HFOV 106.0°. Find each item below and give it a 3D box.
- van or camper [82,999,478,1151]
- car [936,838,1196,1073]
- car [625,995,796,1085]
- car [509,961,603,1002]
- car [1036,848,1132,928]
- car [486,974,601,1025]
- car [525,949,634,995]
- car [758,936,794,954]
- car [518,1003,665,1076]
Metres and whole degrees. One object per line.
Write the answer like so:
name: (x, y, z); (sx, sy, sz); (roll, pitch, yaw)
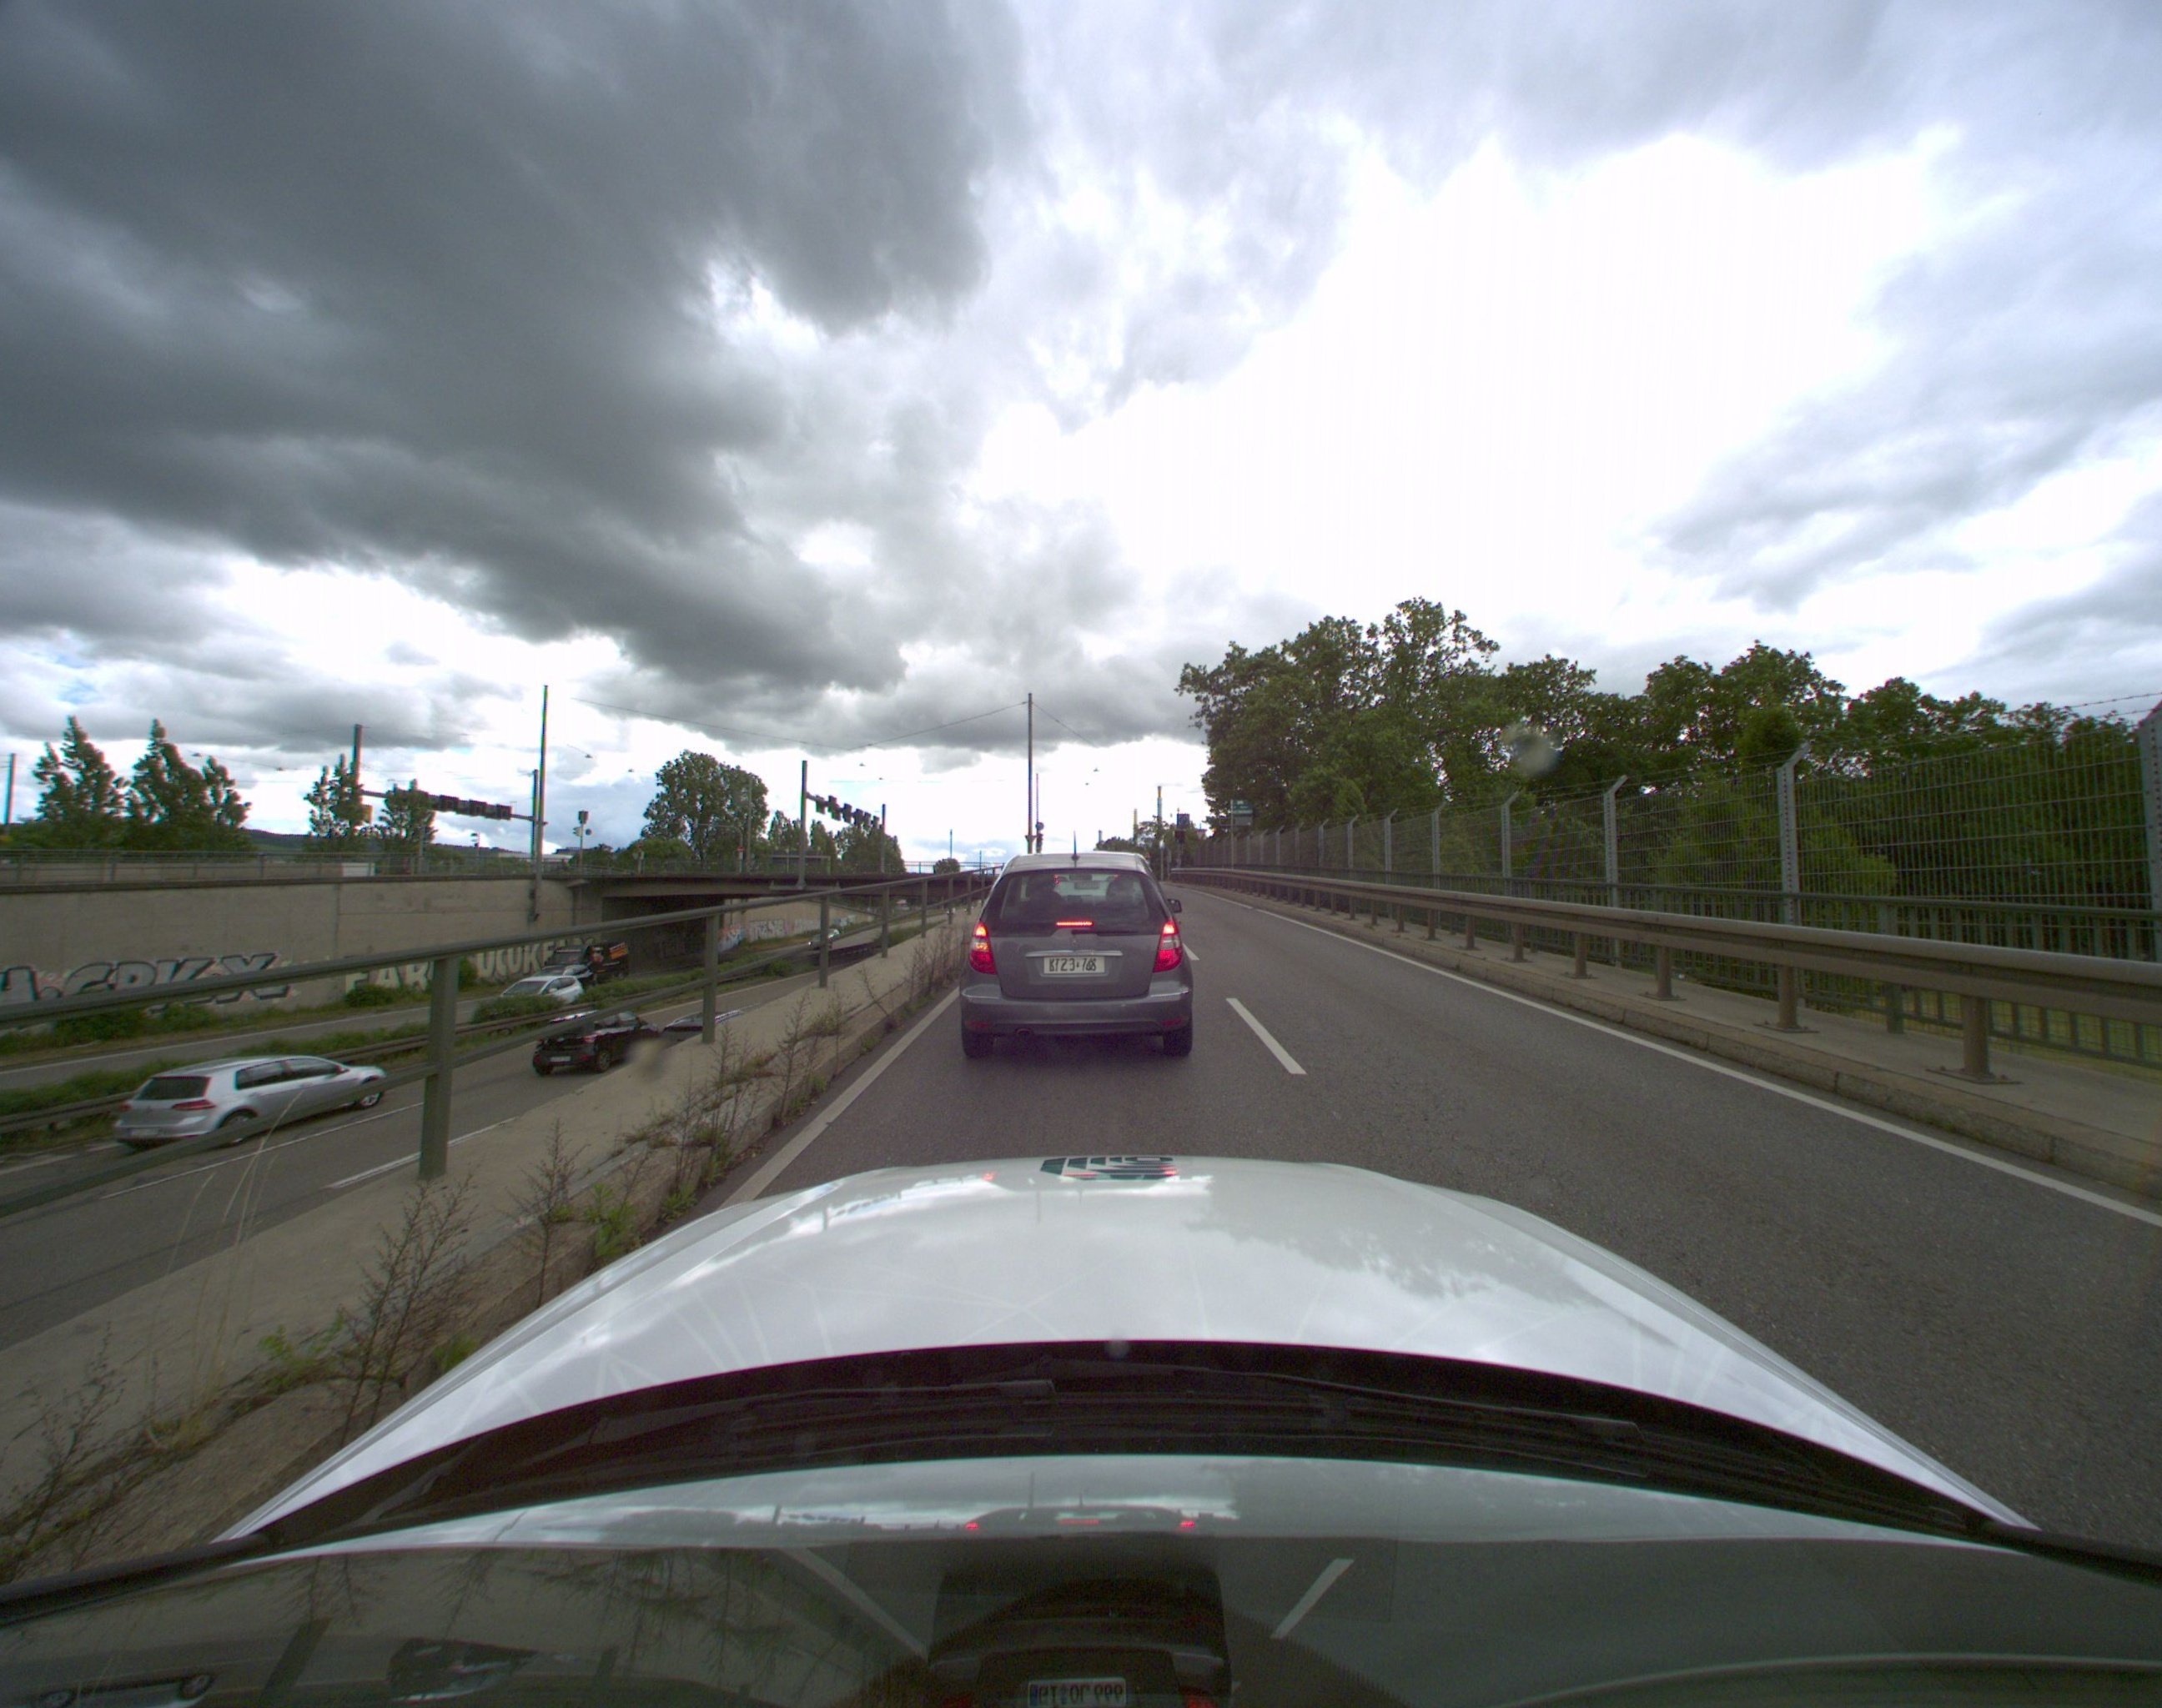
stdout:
van or camper: (-16.203, 4.387, 17.268); (1.875, 1.869, 6.348); (0, -4, 2)
car: (0.163, 0.682, 7.611); (1.740, 1.580, 4.094); (-1, 0, 8)
car: (-9.468, 4.735, 21.242); (1.923, 1.501, 4.315); (-2, -3, 10)
car: (-26.184, 6.348, 40.776); (1.987, 1.662, 3.999); (0, -4, 1)
car: (0.116, 0.701, 19.086); (1.986, 1.603, 4.002); (-1, 1, 1)
car: (-22.181, 5.967, 33.817); (1.987, 1.662, 3.999); (0, -4, 1)
car: (-28.859, 6.757, 47.191); (2.282, 2.156, 6.183); (-1, -4, 1)
car: (-30.435, 9.053, 81.329); (1.987, 1.662, 3.999); (0, -4, 1)
car: (-13.065, 4.930, 22.022); (1.718, 1.327, 3.646); (-1, -3, 0)
